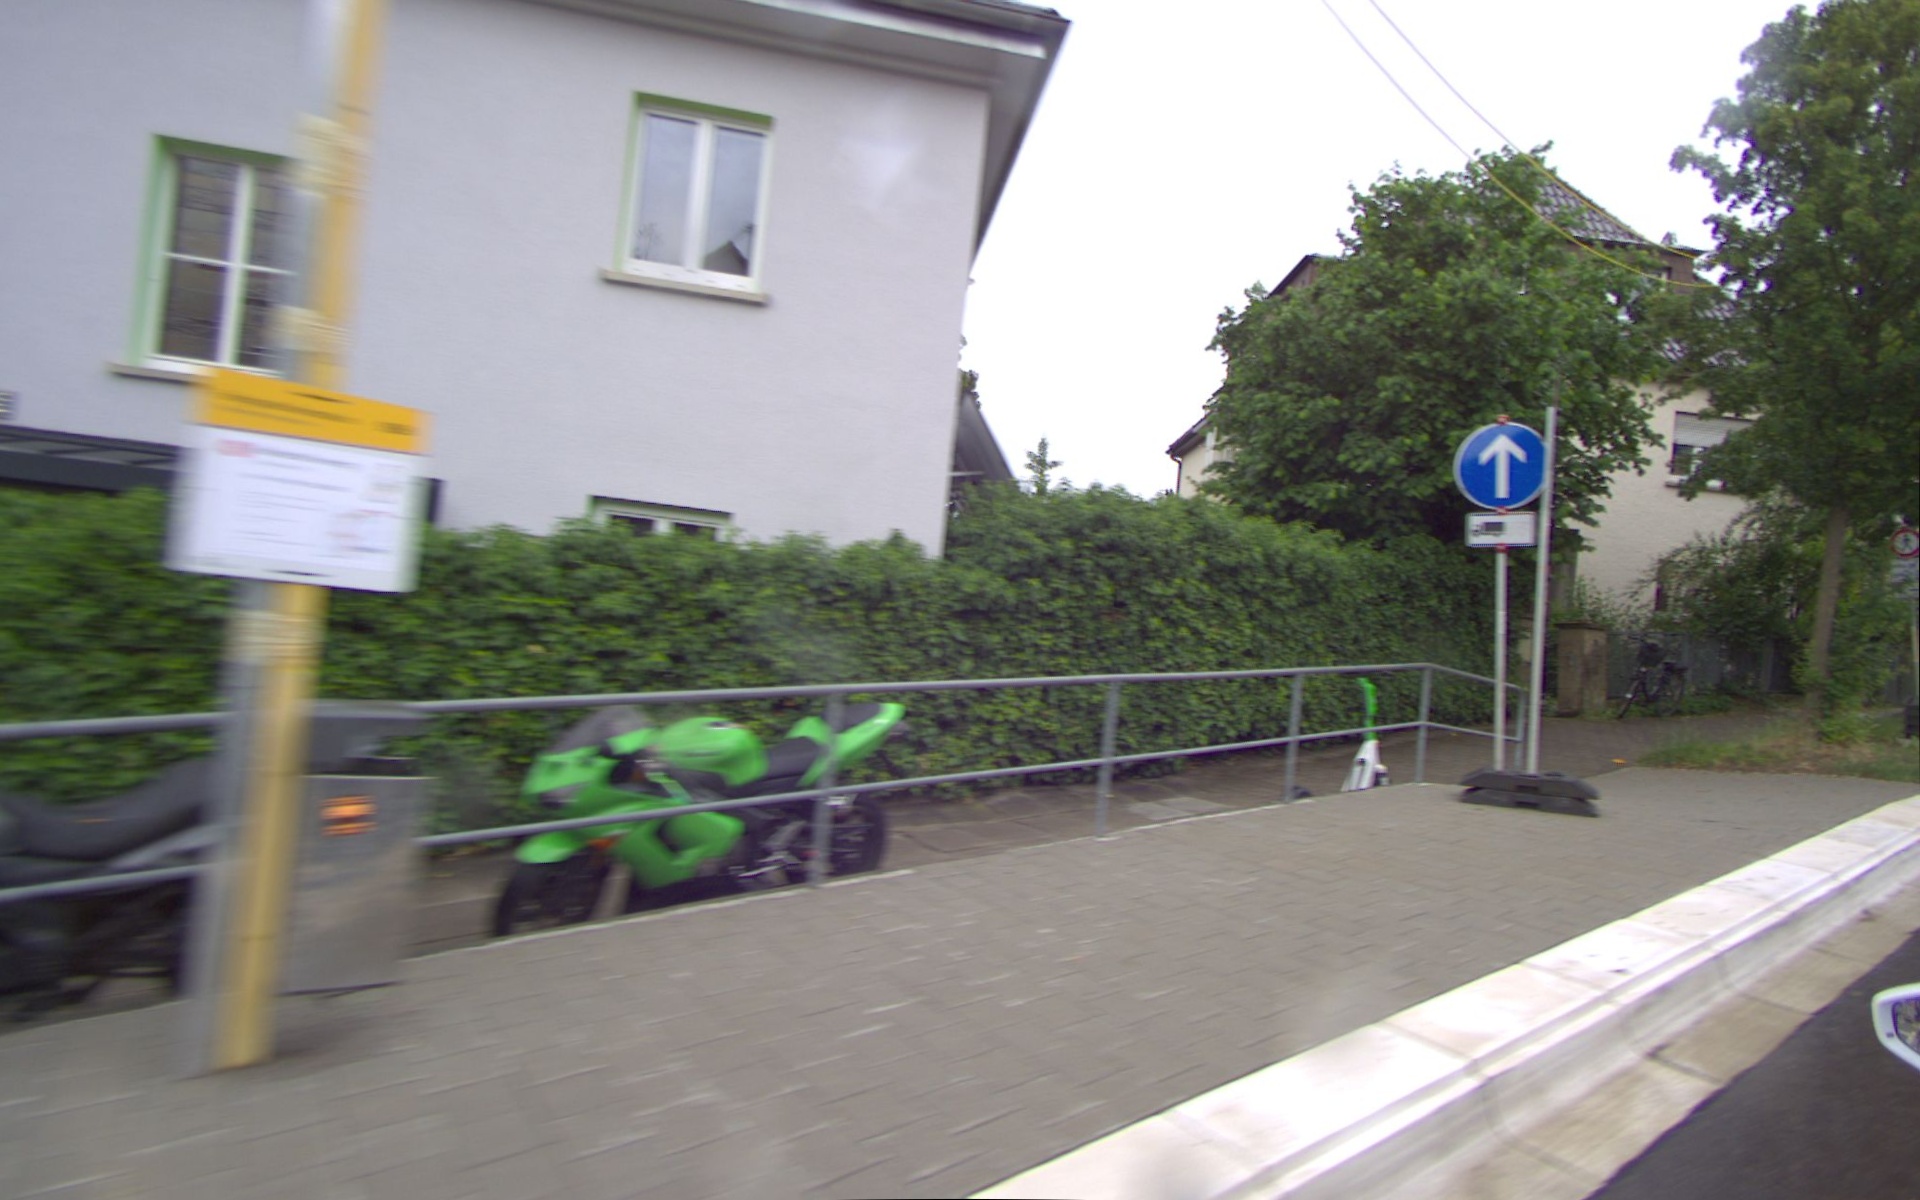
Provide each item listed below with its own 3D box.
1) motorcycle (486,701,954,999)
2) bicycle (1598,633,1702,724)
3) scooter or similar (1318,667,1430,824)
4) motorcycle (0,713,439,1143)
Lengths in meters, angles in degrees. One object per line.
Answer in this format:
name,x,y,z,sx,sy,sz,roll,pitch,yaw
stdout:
motorcycle,-1.002,1.009,4.593,1.995,0.946,0.661,2,0,-42
bicycle,10.652,1.169,15.477,2.250,1.289,0.487,1,3,-35
scooter or similar,3.195,1.079,7.714,1.087,1.095,0.321,2,-1,-41
motorcycle,-2.811,0.947,2.984,2.136,1.050,0.661,2,0,-42
